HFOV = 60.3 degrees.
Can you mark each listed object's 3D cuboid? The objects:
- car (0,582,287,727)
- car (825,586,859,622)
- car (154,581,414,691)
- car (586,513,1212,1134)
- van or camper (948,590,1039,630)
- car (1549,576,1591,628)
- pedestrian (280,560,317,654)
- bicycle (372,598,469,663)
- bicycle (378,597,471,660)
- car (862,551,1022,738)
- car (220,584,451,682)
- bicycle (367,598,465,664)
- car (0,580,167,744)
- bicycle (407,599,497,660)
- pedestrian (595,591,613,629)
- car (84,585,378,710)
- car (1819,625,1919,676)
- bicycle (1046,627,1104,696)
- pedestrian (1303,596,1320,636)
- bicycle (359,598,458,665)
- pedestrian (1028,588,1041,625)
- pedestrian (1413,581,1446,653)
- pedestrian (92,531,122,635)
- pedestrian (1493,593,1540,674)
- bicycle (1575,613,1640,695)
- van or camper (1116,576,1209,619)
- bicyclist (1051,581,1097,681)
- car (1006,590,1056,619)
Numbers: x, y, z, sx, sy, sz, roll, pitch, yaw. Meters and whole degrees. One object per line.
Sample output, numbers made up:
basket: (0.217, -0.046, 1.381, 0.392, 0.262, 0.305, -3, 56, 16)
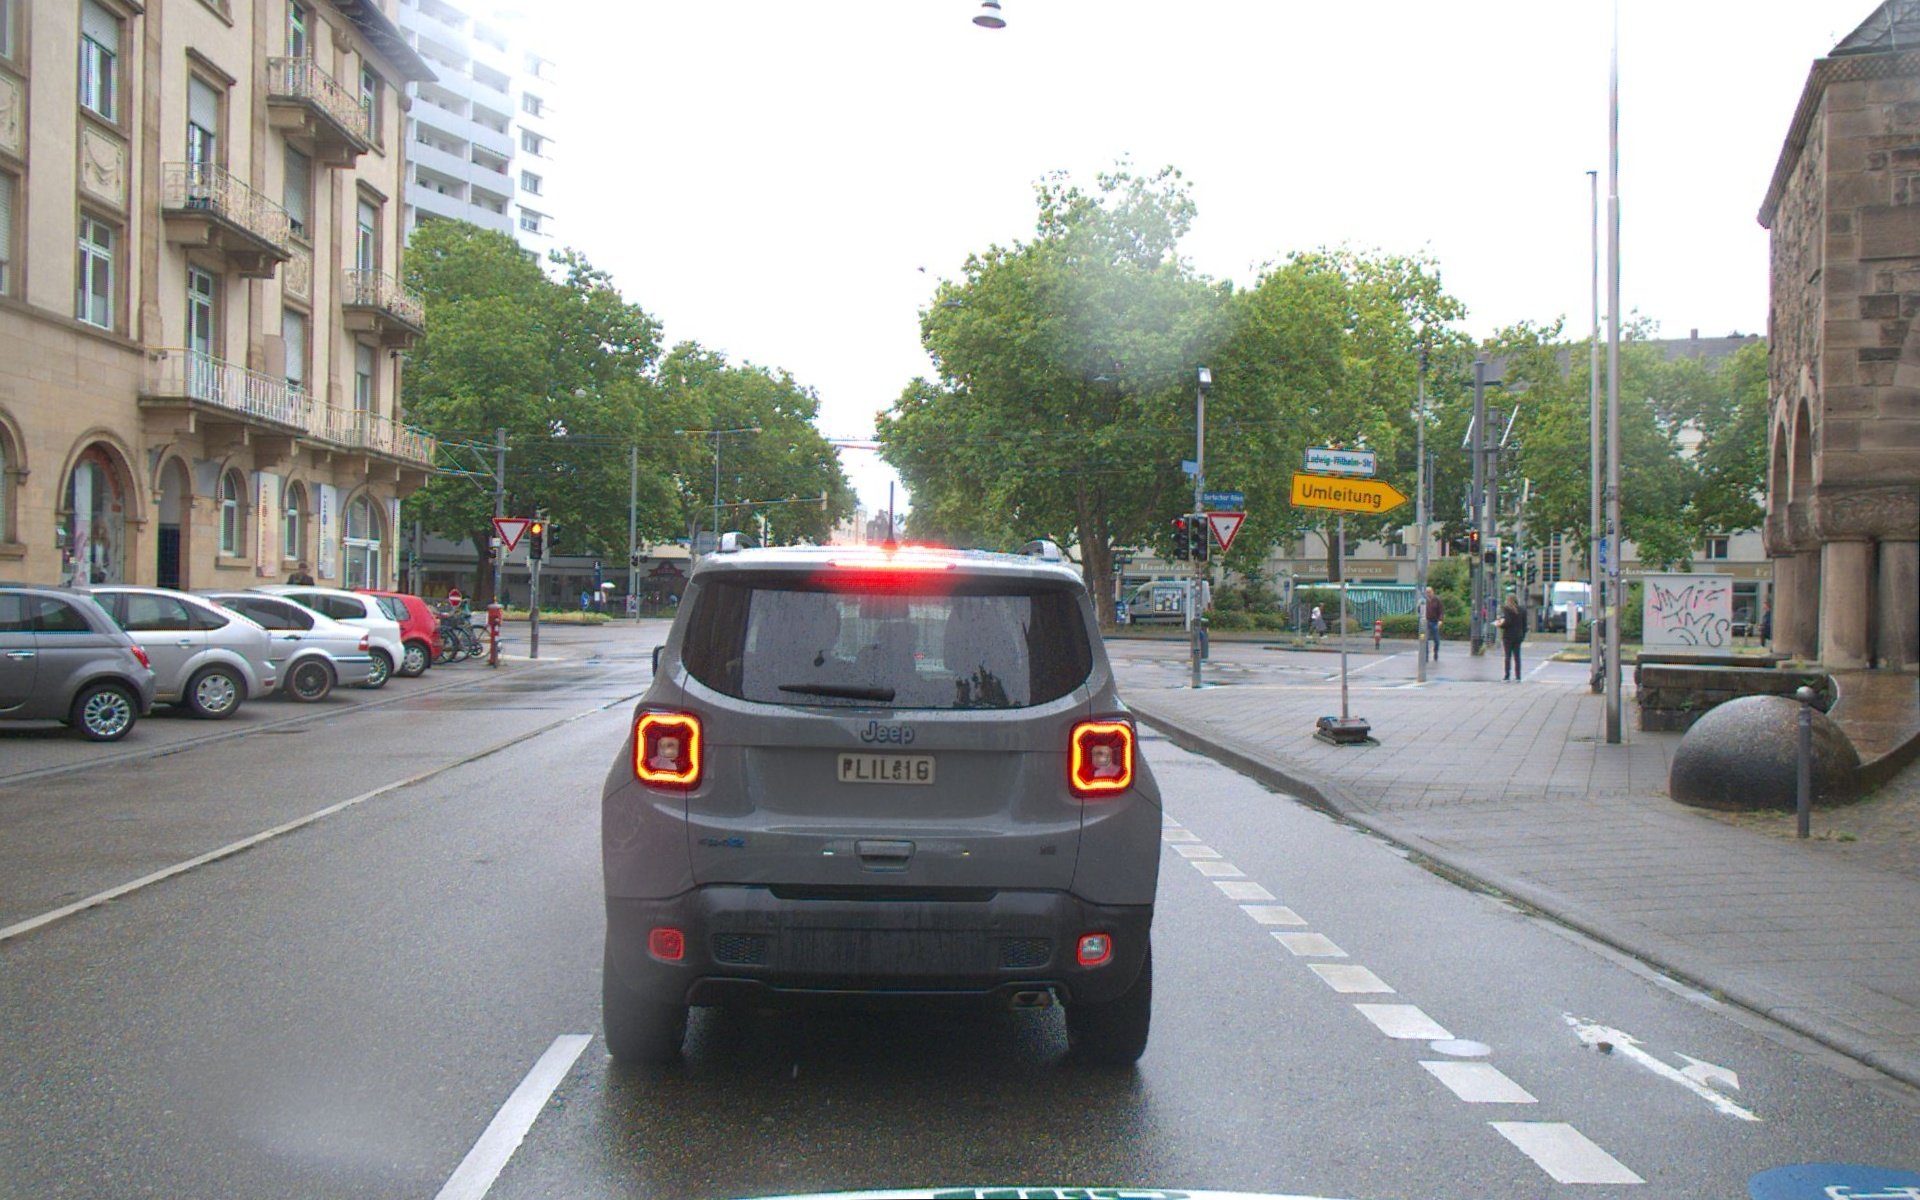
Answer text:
car: (-9.939, 0.594, 19.495, 3.372, 1.585, 1.681, 1, 0, -40)
car: (-6.084, 0.207, 84.808, 1.688, 1.769, 3.726, 1, 0, -5)
car: (-10.374, 0.523, 25.484, 3.372, 1.585, 1.681, 1, 0, -40)
car: (-0.226, 0.609, 6.547, 1.739, 1.716, 3.846, 0, 0, -2)
van or camper: (2.528, 0.757, 125.190, 6.395, 2.963, 2.493, 0, 0, 24)
car: (31.272, 0.095, 84.722, 1.868, 2.600, 4.786, 0, 0, 22)
pedestrian: (-14.727, 0.154, 36.831, 0.556, 2.049, 0.654, 1, 0, -1)
bicycle: (-10.903, 0.607, 33.440, 1.774, 1.288, 0.498, 0, 0, -3)
bicycle: (-11.148, 0.586, 34.465, 1.728, 1.288, 0.608, 0, 0, -3)
car: (-0.240, 0.481, 20.199, 1.734, 2.049, 3.999, 1, 0, -1)
car: (-10.707, 0.535, 28.441, 3.372, 1.585, 1.681, 1, 0, -40)
bicycle: (-10.763, 0.602, 32.759, 1.774, 1.288, 0.498, 0, 0, -3)
car: (-9.932, 0.586, 16.478, 3.372, 1.585, 1.629, 1, 0, -40)
bicycle: (-10.854, 0.631, 35.348, 1.728, 1.288, 0.608, 0, 0, -3)
pedestrian: (-17.587, 0.480, 81.691, 0.677, 1.858, 0.621, 0, 0, 15)
car: (-9.966, 0.607, 22.691, 3.372, 1.585, 1.681, 1, 0, -40)
car: (30.359, 1.659, 54.685, 3.368, 1.579, 1.592, 0, 0, 25)
bicycle: (1.894, 0.998, 27.545, 0.678, 1.039, 2.657, 0, 0, -2)
pedestrian: (14.478, 0.641, 68.048, 0.600, 1.631, 0.494, 0, 0, 23)
bicycle: (-10.736, 0.612, 32.213, 1.728, 1.288, 0.522, 0, 0, -3)
pedestrian: (4.193, 0.371, 93.149, 0.637, 2.049, 0.483, 1, 0, 11)
pedestrian: (11.819, 0.429, 41.653, 0.769, 1.790, 0.946, 0, 0, 14)
pedestrian: (-15.276, -0.308, 29.619, 0.359, 1.854, 0.347, 0, -1, -3)
pedestrian: (11.629, 0.702, 34.577, 0.766, 1.674, 0.655, 0, 0, 2)
bicycle: (9.889, 0.797, 25.321, 0.322, 1.174, 2.076, 0, 0, 4)
van or camper: (11.644, -0.139, 95.389, 5.149, 2.356, 2.090, 1, 0, 3)
bicyclist: (1.888, 0.507, 27.578, 0.673, 1.646, 0.883, 0, 0, -2)
car: (5.162, 0.312, 120.009, 3.363, 2.049, 1.549, 0, -1, 12)
